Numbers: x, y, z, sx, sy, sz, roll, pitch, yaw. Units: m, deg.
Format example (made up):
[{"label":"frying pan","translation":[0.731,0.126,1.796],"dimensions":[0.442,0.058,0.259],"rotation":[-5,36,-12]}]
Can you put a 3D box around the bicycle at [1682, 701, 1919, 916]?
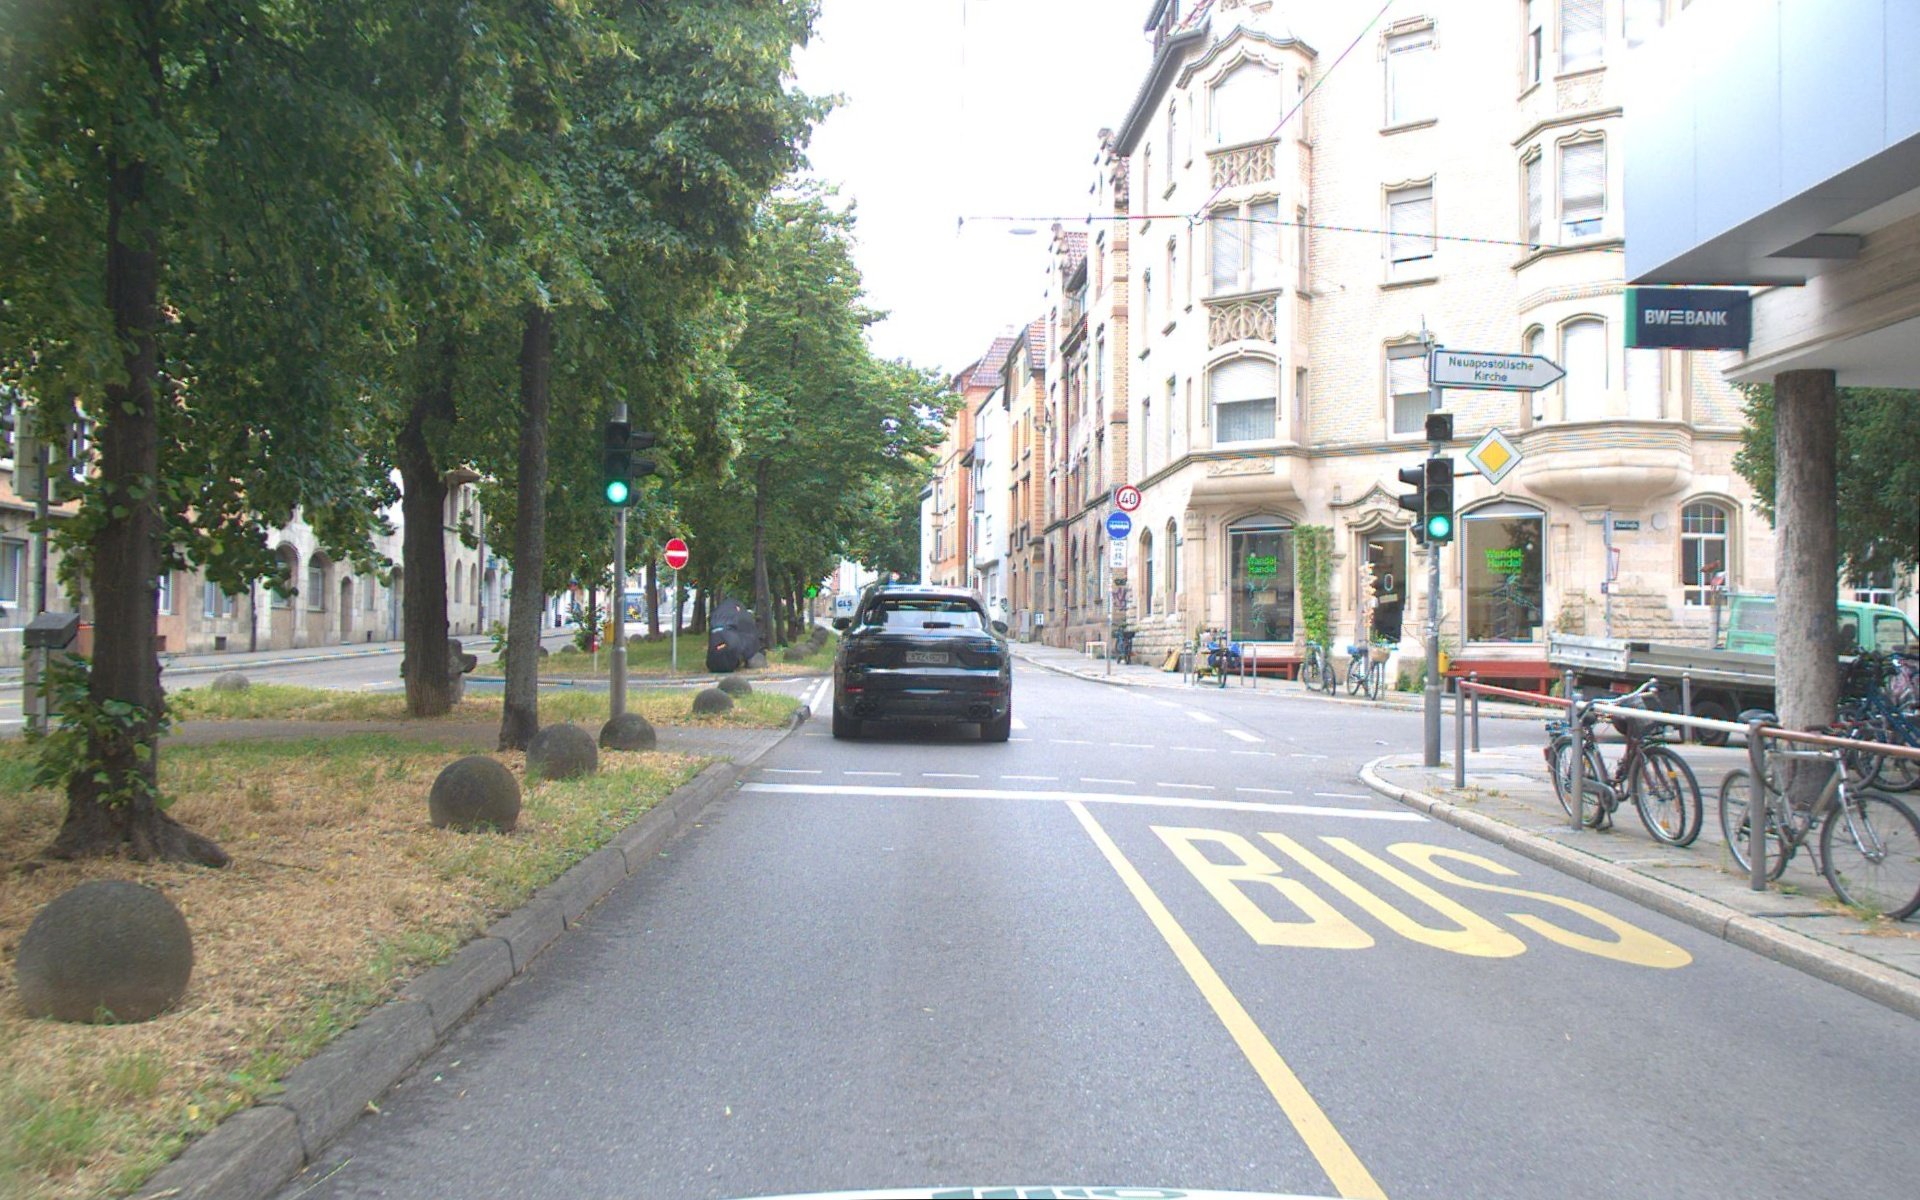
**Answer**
[{"label":"bicycle","translation":[4.556,1.063,8.883],"dimensions":[0.557,0.947,1.774],"rotation":[1,-1,-1]}]

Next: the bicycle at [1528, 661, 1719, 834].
[{"label":"bicycle","translation":[4.619,0.989,11.624],"dimensions":[0.281,1.073,1.755],"rotation":[1,-1,-13]}]

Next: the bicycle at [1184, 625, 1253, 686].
[{"label":"bicycle","translation":[5.229,1.102,33.622],"dimensions":[0.861,1.149,2.978],"rotation":[1,-1,-1]}]

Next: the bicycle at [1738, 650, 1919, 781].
[{"label":"bicycle","translation":[7.767,1.004,14.826],"dimensions":[0.313,1.061,1.751],"rotation":[1,-1,-18]}]

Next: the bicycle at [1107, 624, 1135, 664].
[{"label":"bicycle","translation":[4.365,1.184,44.827],"dimensions":[0.437,1.055,2.247],"rotation":[0,-1,-3]}]

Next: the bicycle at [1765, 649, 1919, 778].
[{"label":"bicycle","translation":[8.073,0.996,14.939],"dimensions":[0.313,1.061,1.751],"rotation":[1,-1,-18]}]

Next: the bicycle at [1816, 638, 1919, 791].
[{"label":"bicycle","translation":[7.886,0.932,13.437],"dimensions":[0.315,1.219,1.741],"rotation":[2,-1,-32]}]

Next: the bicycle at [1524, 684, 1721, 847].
[{"label":"bicycle","translation":[4.457,1.084,11.245],"dimensions":[0.281,0.947,1.755],"rotation":[1,-1,-13]}]

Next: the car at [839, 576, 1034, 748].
[{"label":"car","translation":[-0.377,0.618,18.968],"dimensions":[1.954,1.694,3.997],"rotation":[2,1,-4]}]

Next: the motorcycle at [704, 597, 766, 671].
[{"label":"motorcycle","translation":[-4.659,0.698,34.394],"dimensions":[0.999,1.471,2.246],"rotation":[-1,-1,-1]}]

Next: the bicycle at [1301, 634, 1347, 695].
[{"label":"bicycle","translation":[7.026,1.239,31.964],"dimensions":[0.342,1.077,1.833],"rotation":[3,0,-3]}]

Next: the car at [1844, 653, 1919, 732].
[{"label":"car","translation":[17.916,1.700,29.720],"dimensions":[3.311,1.361,1.561],"rotation":[2,-3,-8]}]

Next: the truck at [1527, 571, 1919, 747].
[{"label":"truck","translation":[11.175,0.828,23.431],"dimensions":[5.460,2.170,2.375],"rotation":[3,0,-11]}]

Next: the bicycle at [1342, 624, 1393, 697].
[{"label":"bicycle","translation":[7.800,1.139,31.684],"dimensions":[0.437,1.181,1.834],"rotation":[0,5,-3]}]
